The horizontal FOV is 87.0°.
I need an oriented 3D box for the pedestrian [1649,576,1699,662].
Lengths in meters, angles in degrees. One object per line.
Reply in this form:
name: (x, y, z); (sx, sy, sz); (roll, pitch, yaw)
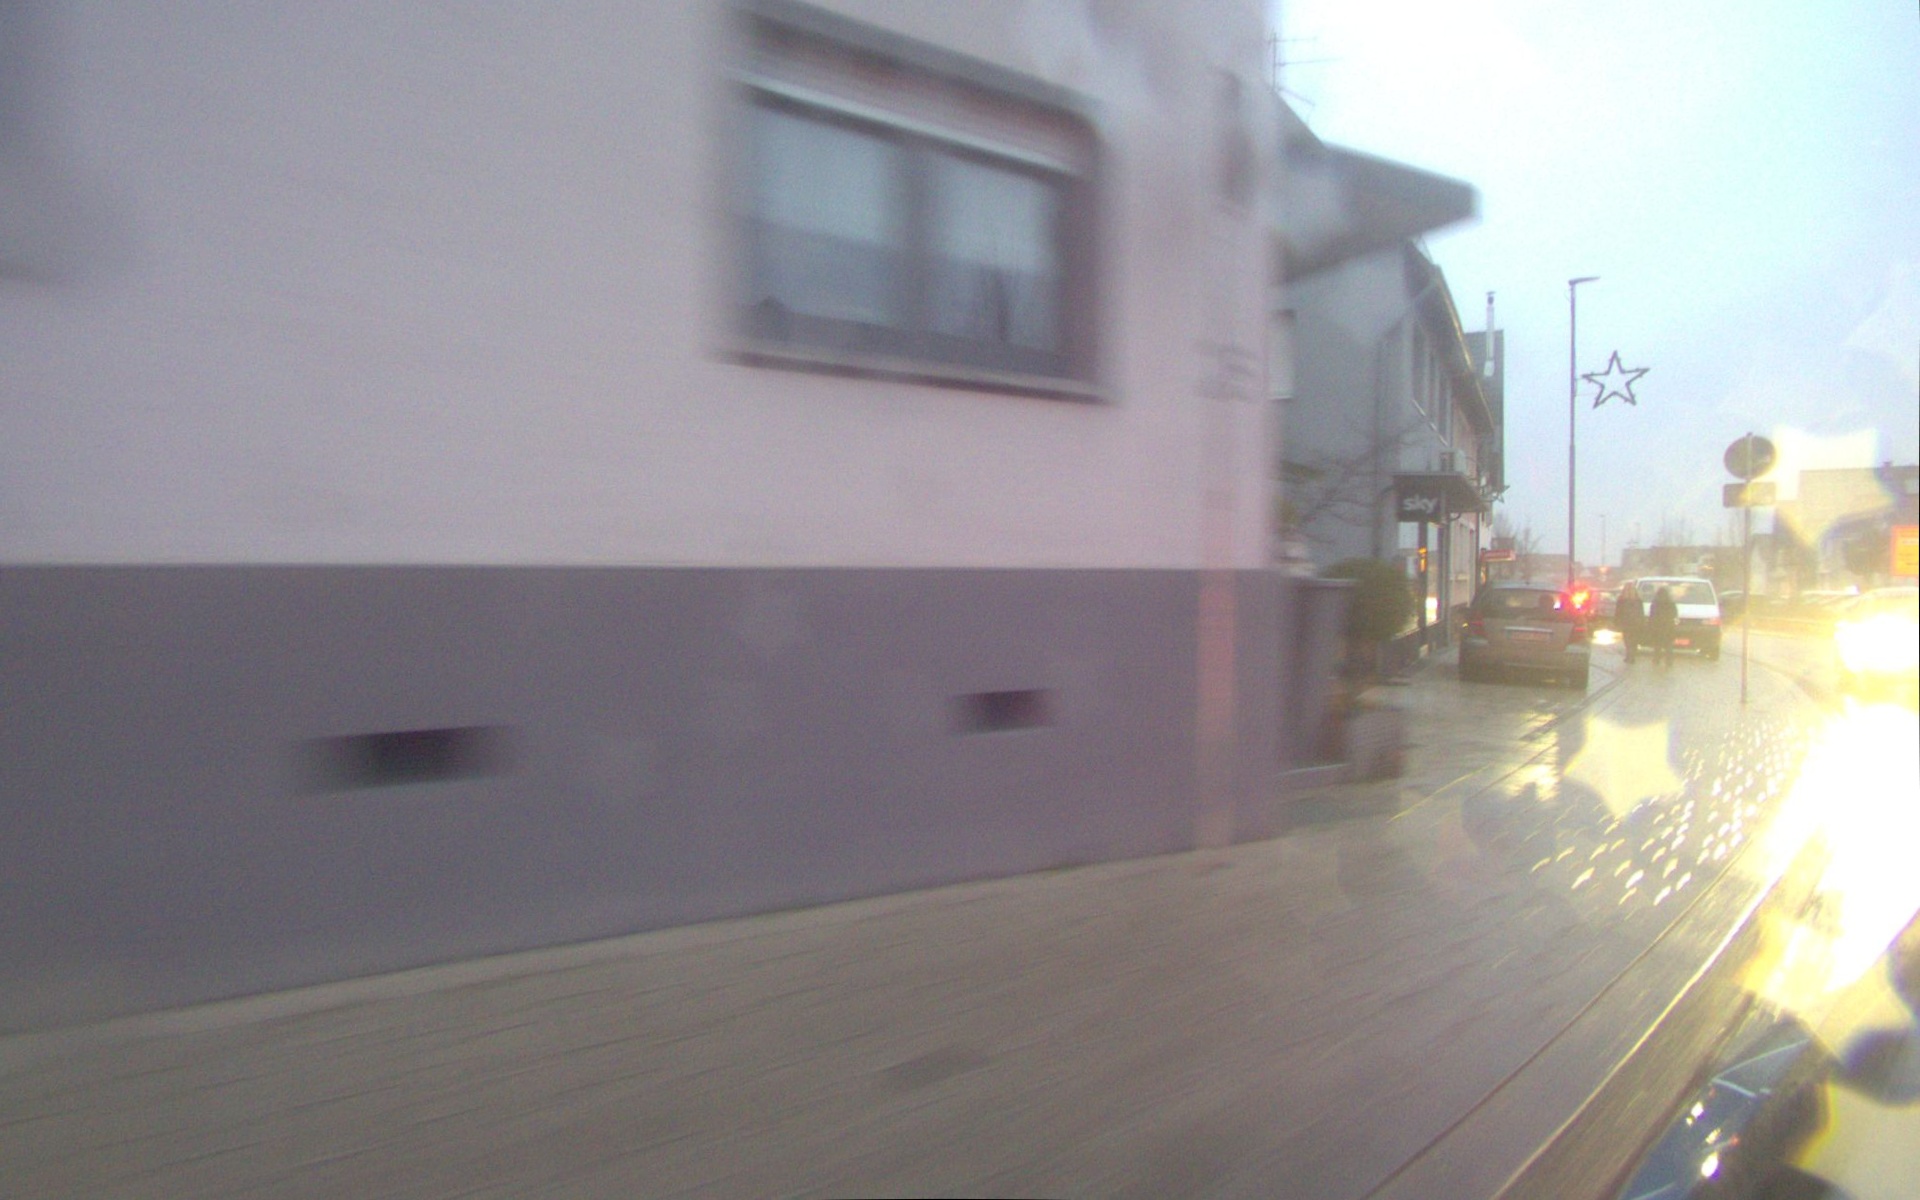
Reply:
pedestrian: (14.717, 0.379, 20.879); (0.709, 1.720, 0.796); (2, 1, 28)

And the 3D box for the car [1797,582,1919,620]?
car: (46.779, 0.033, 52.803); (4.383, 1.824, 1.828); (2, 1, 26)

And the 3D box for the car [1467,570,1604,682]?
car: (9.319, 0.345, 16.638); (1.723, 1.580, 3.629); (2, 1, 27)

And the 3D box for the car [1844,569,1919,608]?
car: (43.161, -0.495, 45.446); (4.836, 1.705, 1.980); (2, 0, 28)

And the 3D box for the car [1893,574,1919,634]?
car: (34.339, 0.146, 32.885); (5.752, 1.971, 1.962); (0, -1, 40)

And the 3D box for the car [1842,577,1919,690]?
car: (16.276, 0.480, 16.548); (2.257, 1.663, 5.001); (1, 1, 35)

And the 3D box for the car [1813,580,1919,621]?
car: (45.524, 0.007, 50.247); (4.471, 1.890, 1.852); (2, 1, 26)

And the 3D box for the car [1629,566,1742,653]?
car: (18.195, 0.193, 25.582); (1.964, 1.984, 4.796); (1, 1, 32)

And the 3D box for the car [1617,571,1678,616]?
car: (41.234, -0.401, 60.837); (2.180, 2.522, 6.087); (1, 1, 26)

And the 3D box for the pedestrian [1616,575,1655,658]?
pedestrian: (14.133, 0.326, 21.187); (0.576, 1.690, 0.783); (2, 1, 30)

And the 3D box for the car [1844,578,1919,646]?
car: (26.934, 0.306, 28.375); (1.933, 1.771, 4.808); (3, 2, 26)

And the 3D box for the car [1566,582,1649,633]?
car: (23.448, 0.237, 36.820); (1.961, 1.681, 4.420); (2, 1, 26)
